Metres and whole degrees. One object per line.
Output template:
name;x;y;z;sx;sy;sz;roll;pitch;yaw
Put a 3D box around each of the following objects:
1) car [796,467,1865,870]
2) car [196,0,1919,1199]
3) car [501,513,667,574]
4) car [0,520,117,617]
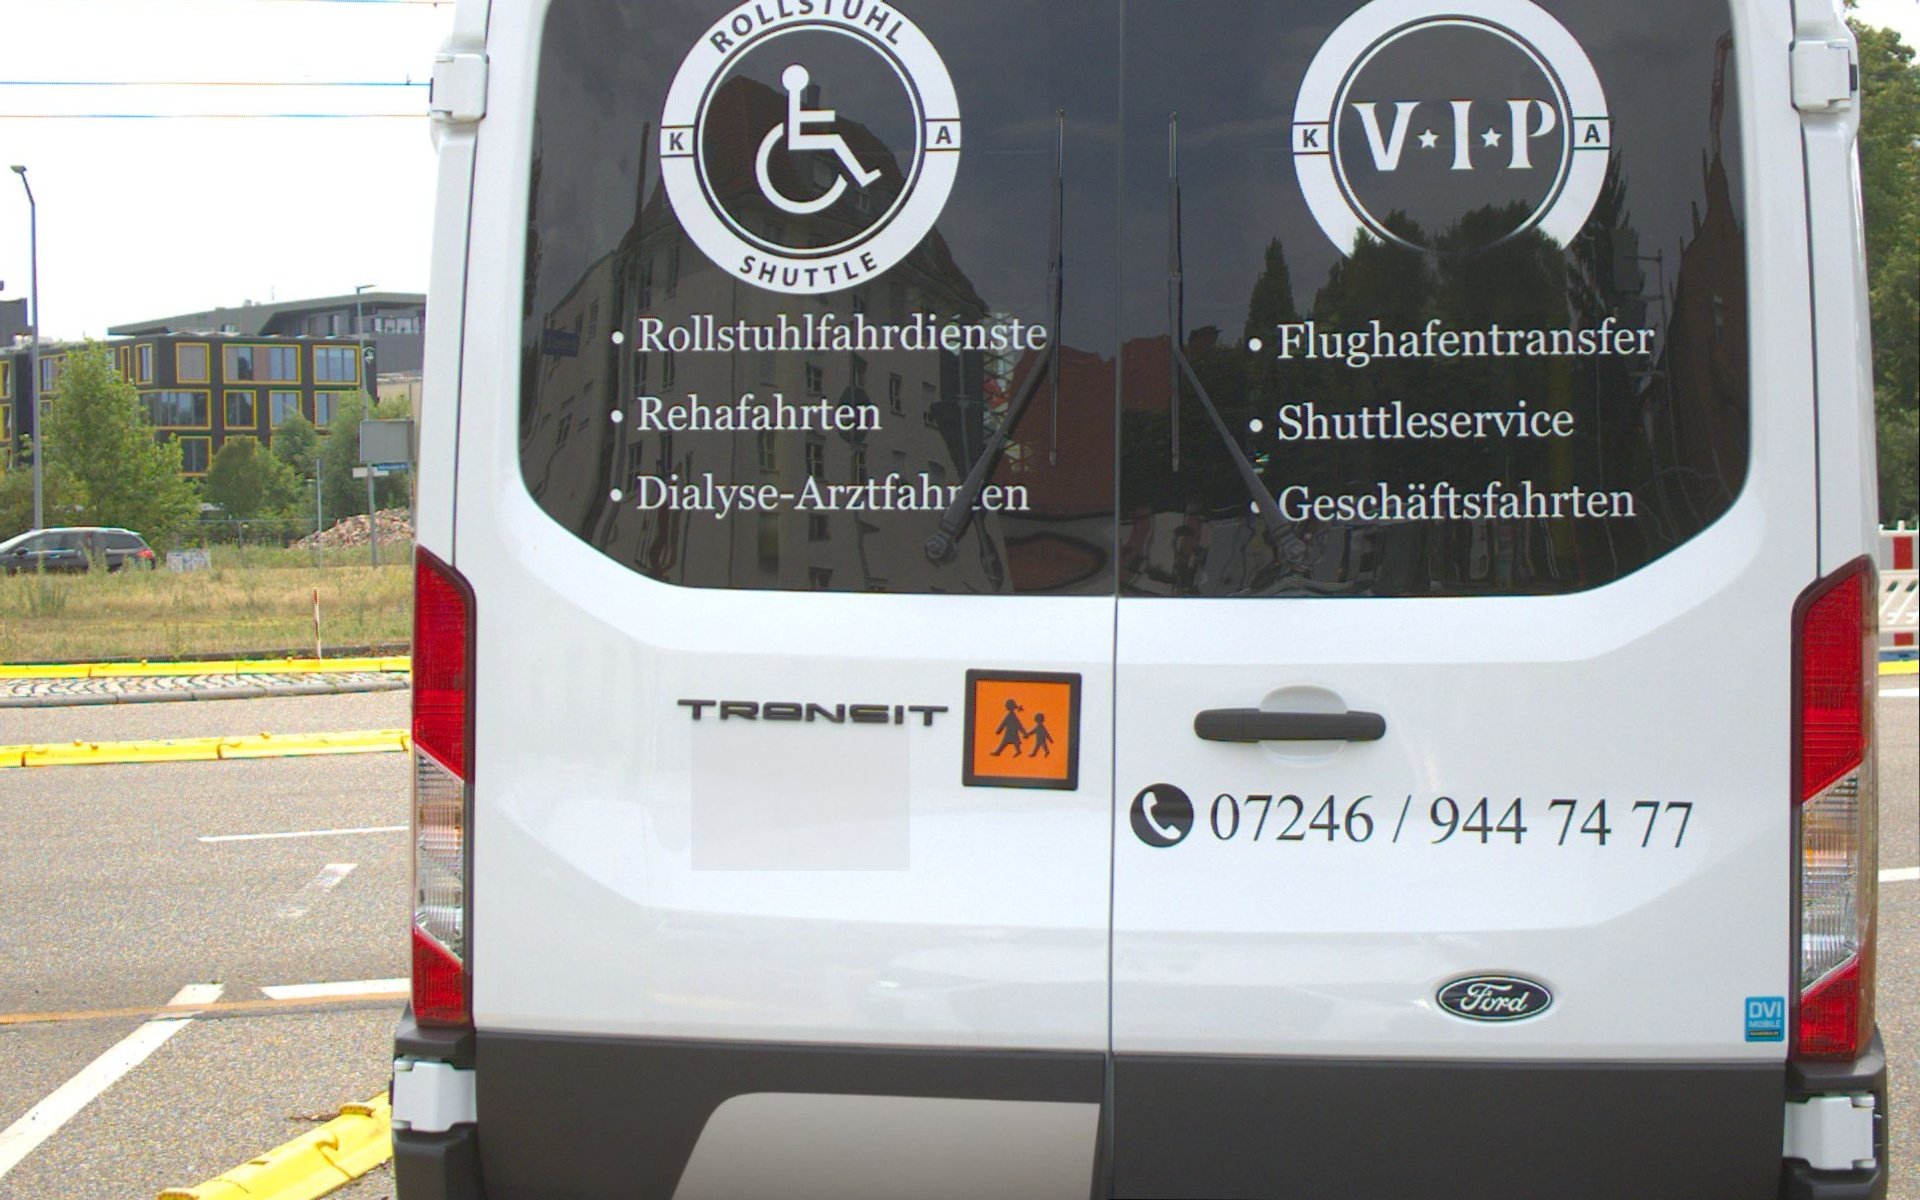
car;1.722;0.204;15.554;4.460;1.546;2.064;-2;2;-31
car;0.349;-0.051;6.870;2.126;2.688;5.631;-1;1;4
car;-9.105;-1.376;83.532;1.831;1.458;3.992;0;1;35
car;-19.944;-0.666;72.480;3.986;2.007;2.001;0;0;-21
